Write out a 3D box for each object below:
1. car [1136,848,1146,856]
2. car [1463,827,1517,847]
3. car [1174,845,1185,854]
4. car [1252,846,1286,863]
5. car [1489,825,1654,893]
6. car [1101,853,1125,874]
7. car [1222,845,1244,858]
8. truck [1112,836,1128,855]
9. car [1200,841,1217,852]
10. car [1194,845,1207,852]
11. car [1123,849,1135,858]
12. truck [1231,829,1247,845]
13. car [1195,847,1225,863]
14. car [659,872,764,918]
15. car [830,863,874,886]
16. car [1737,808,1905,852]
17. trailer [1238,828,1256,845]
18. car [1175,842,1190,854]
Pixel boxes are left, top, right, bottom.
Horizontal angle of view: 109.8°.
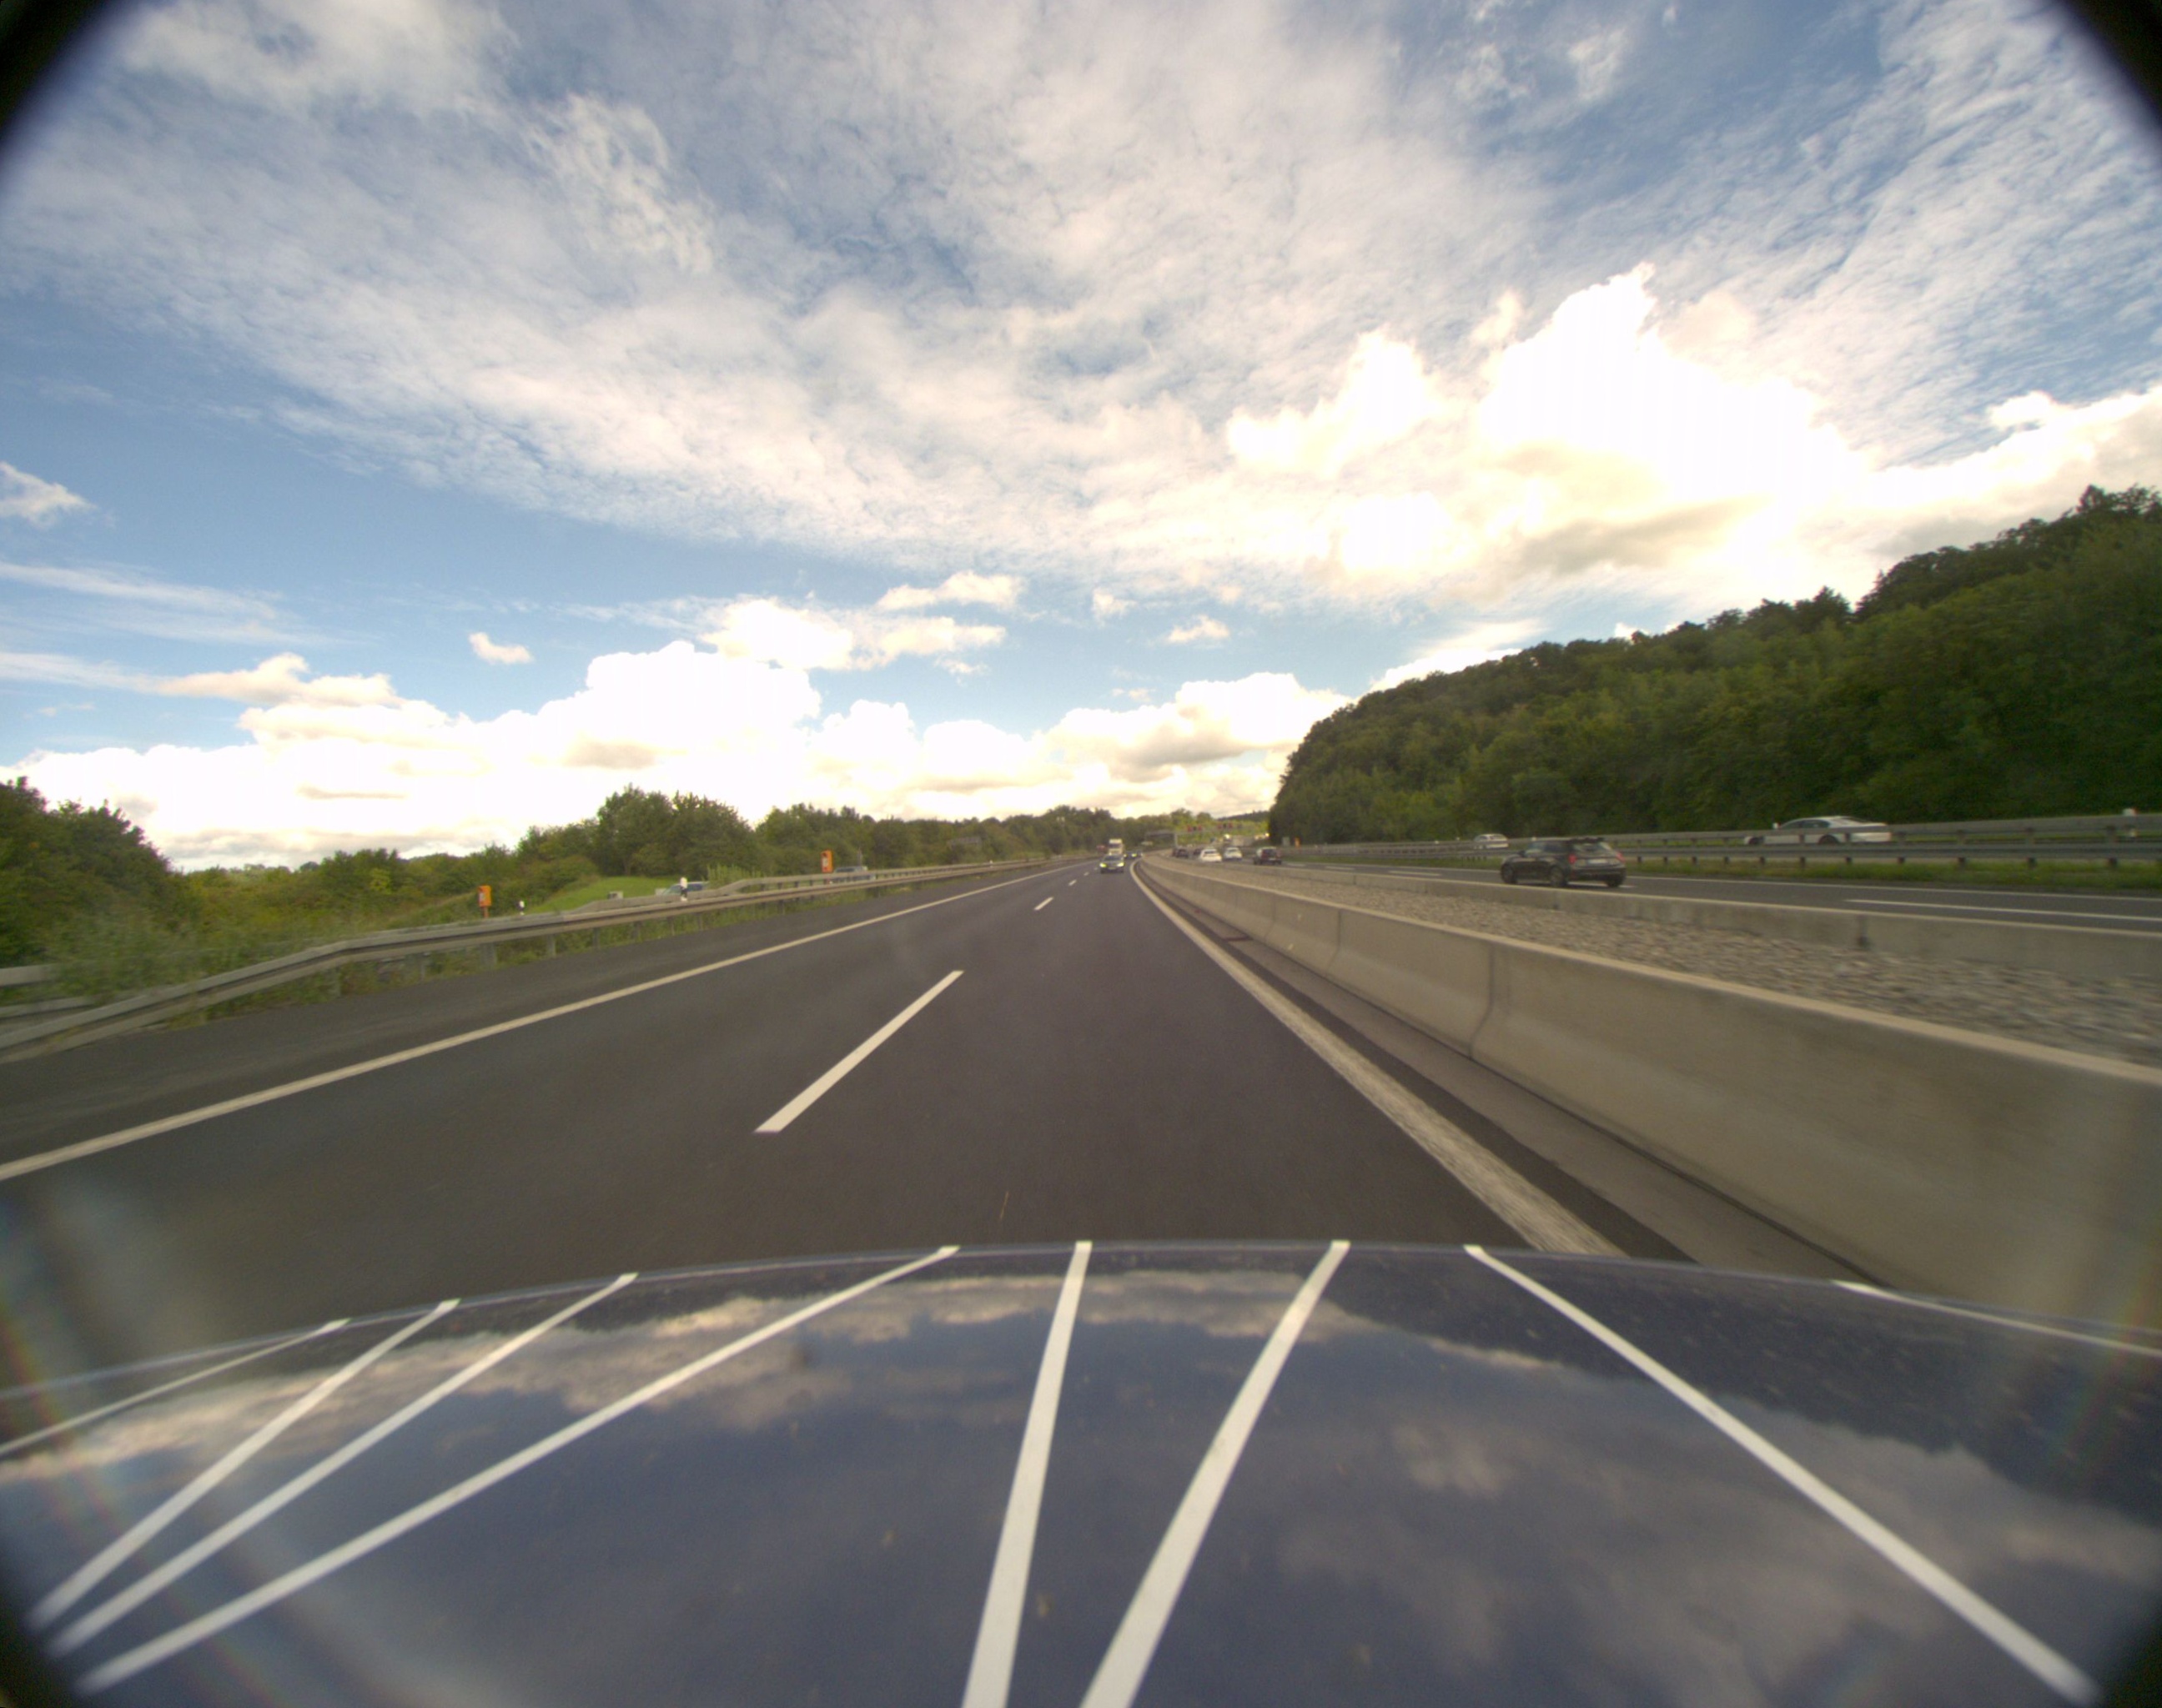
[{"bbox_3d":[13.204,-0.452,166.617,1.998,1.464,4.001,-3,1,6],"label":"car"},{"bbox_3d":[32.727,-1.365,60.950,1.787,1.423,4.624,-3,0,-1],"label":"car"},{"bbox_3d":[19.753,-0.861,152.619,1.890,1.693,4.967,-2,0,5],"label":"car"},{"bbox_3d":[15.647,0.007,63.486,1.873,1.329,4.229,-2,0,2],"label":"car"},{"bbox_3d":[14.049,0.124,22.123,1.998,1.681,4.373,-3,0,2],"label":"car"},{"bbox_3d":[2.613,0.735,61.295,1.662,1.464,4.000,-3,1,4],"label":"car"},{"bbox_3d":[17.838,-0.350,89.242,1.890,1.421,4.578,-2,0,3],"label":"car"},{"bbox_3d":[8.302,-1.927,162.029,2.795,3.563,11.458,-2,2,5],"label":"truck"},{"bbox_3d":[20.325,-1.203,121.260,1.890,1.600,4.966,-2,0,2],"label":"car"},{"bbox_3d":[24.482,-1.150,156.047,1.998,1.394,4.814,-2,0,3],"label":"car"},{"bbox_3d":[8.546,-0.048,134.893,1.998,1.464,4.000,-3,1,5],"label":"car"},{"bbox_3d":[41.199,-4.389,198.179,2.908,3.946,10.465,-2,2,5],"label":"truck"},{"bbox_3d":[12.003,0.078,71.094,2.051,1.329,5.608,-2,0,2],"label":"car"},{"bbox_3d":[-15.304,1.645,31.799,1.788,1.510,4.676,-3,1,3],"label":"car"},{"bbox_3d":[-17.525,1.529,58.336,1.788,1.562,4.345,-3,1,3],"label":"car"},{"bbox_3d":[32.732,-0.999,33.889,1.942,1.662,5.219,-3,0,-9],"label":"car"},{"bbox_3d":[46.114,-4.939,211.189,3.328,4.269,12.142,-2,2,7],"label":"trailer"},{"bbox_3d":[16.002,-0.999,120.095,1.890,1.774,4.953,-2,0,3],"label":"car"}]
